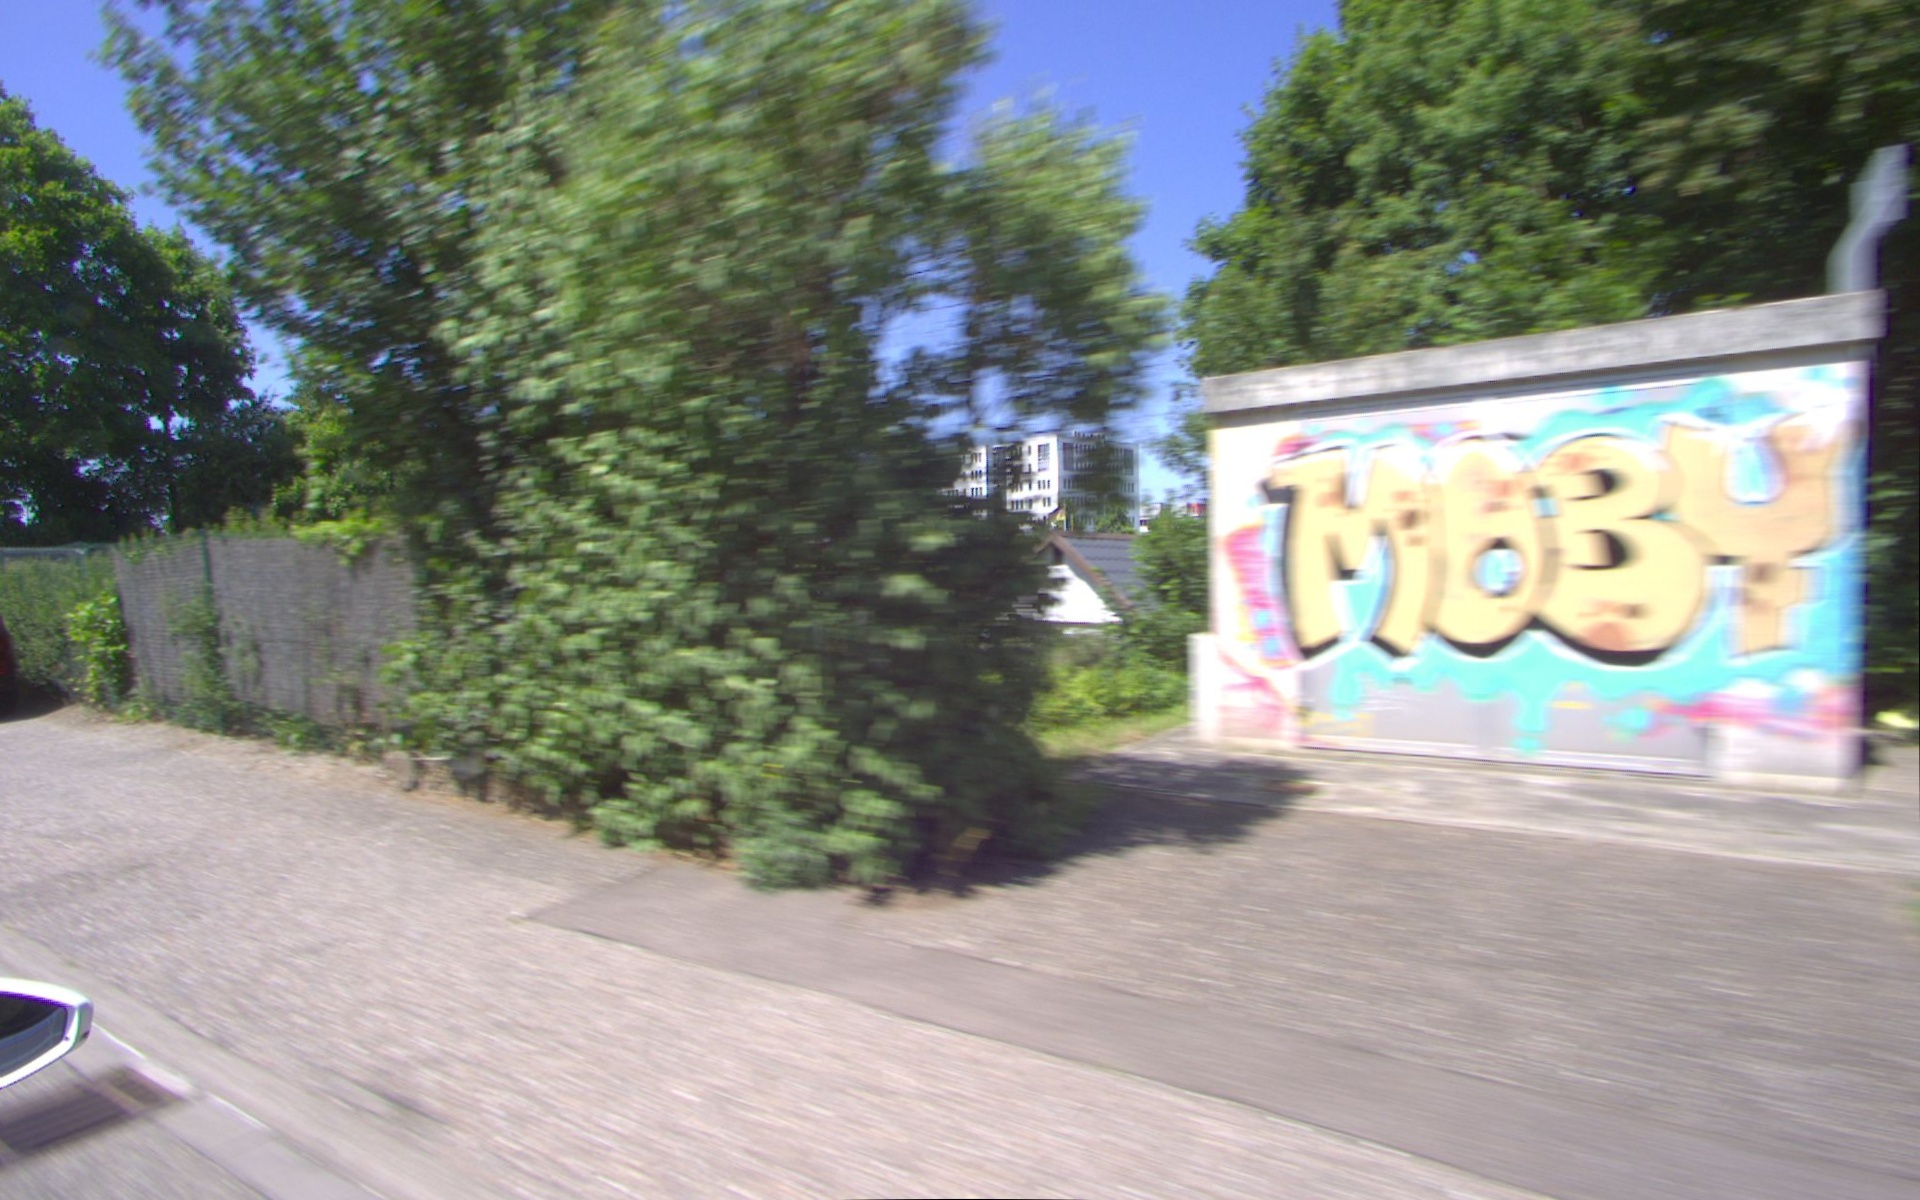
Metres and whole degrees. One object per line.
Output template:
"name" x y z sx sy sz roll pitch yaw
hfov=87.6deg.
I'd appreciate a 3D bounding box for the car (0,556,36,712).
"car" -12.597 0.416 11.530 4.390 1.682 1.783 1 6 34
